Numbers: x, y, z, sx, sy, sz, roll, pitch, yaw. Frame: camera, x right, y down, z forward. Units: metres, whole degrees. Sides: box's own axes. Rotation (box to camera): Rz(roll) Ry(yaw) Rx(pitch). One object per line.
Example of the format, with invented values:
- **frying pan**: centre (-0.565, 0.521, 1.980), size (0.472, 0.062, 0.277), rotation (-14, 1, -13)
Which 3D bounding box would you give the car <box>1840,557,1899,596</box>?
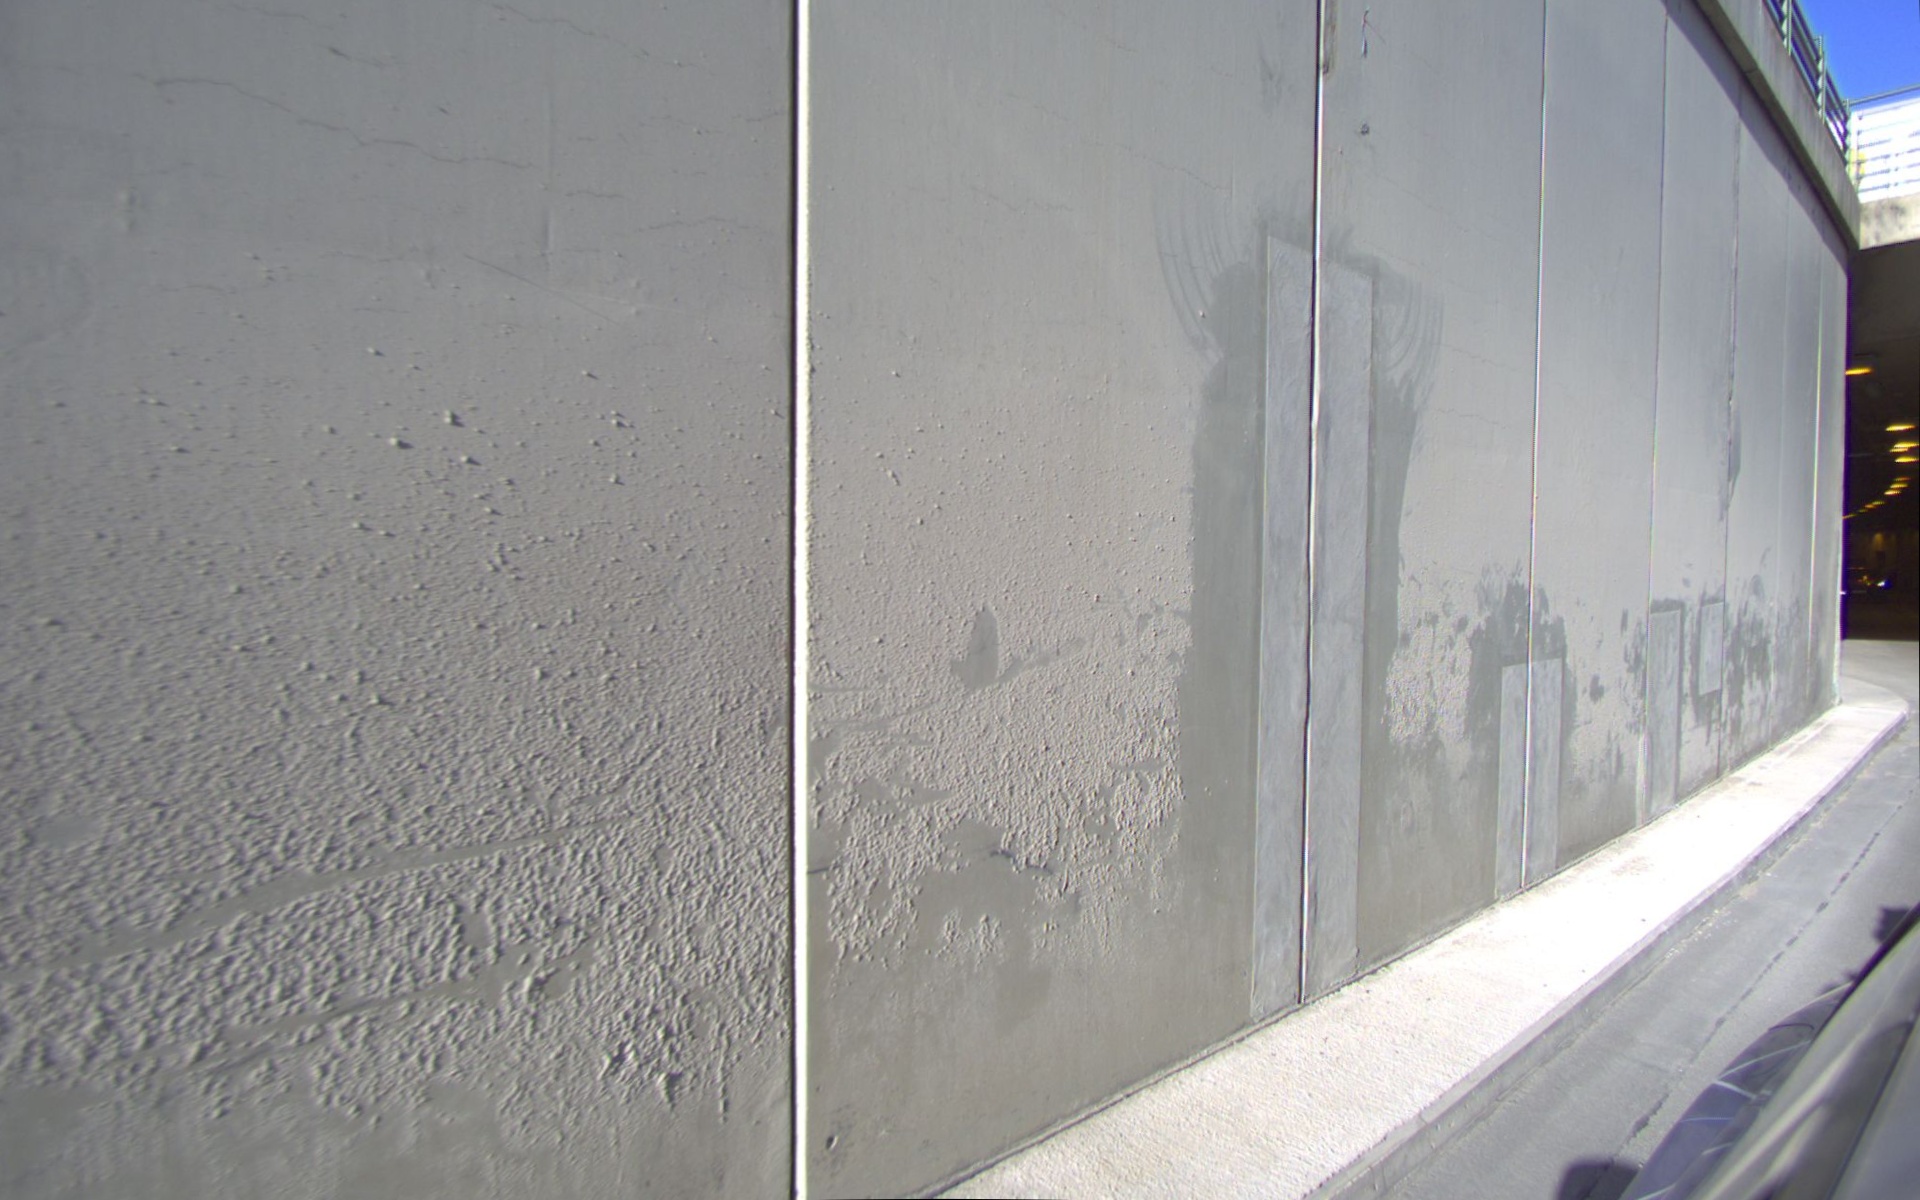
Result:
- **car**: centre (40.238, -1.069, 44.818), size (1.890, 1.564, 4.178), rotation (0, 3, 42)
